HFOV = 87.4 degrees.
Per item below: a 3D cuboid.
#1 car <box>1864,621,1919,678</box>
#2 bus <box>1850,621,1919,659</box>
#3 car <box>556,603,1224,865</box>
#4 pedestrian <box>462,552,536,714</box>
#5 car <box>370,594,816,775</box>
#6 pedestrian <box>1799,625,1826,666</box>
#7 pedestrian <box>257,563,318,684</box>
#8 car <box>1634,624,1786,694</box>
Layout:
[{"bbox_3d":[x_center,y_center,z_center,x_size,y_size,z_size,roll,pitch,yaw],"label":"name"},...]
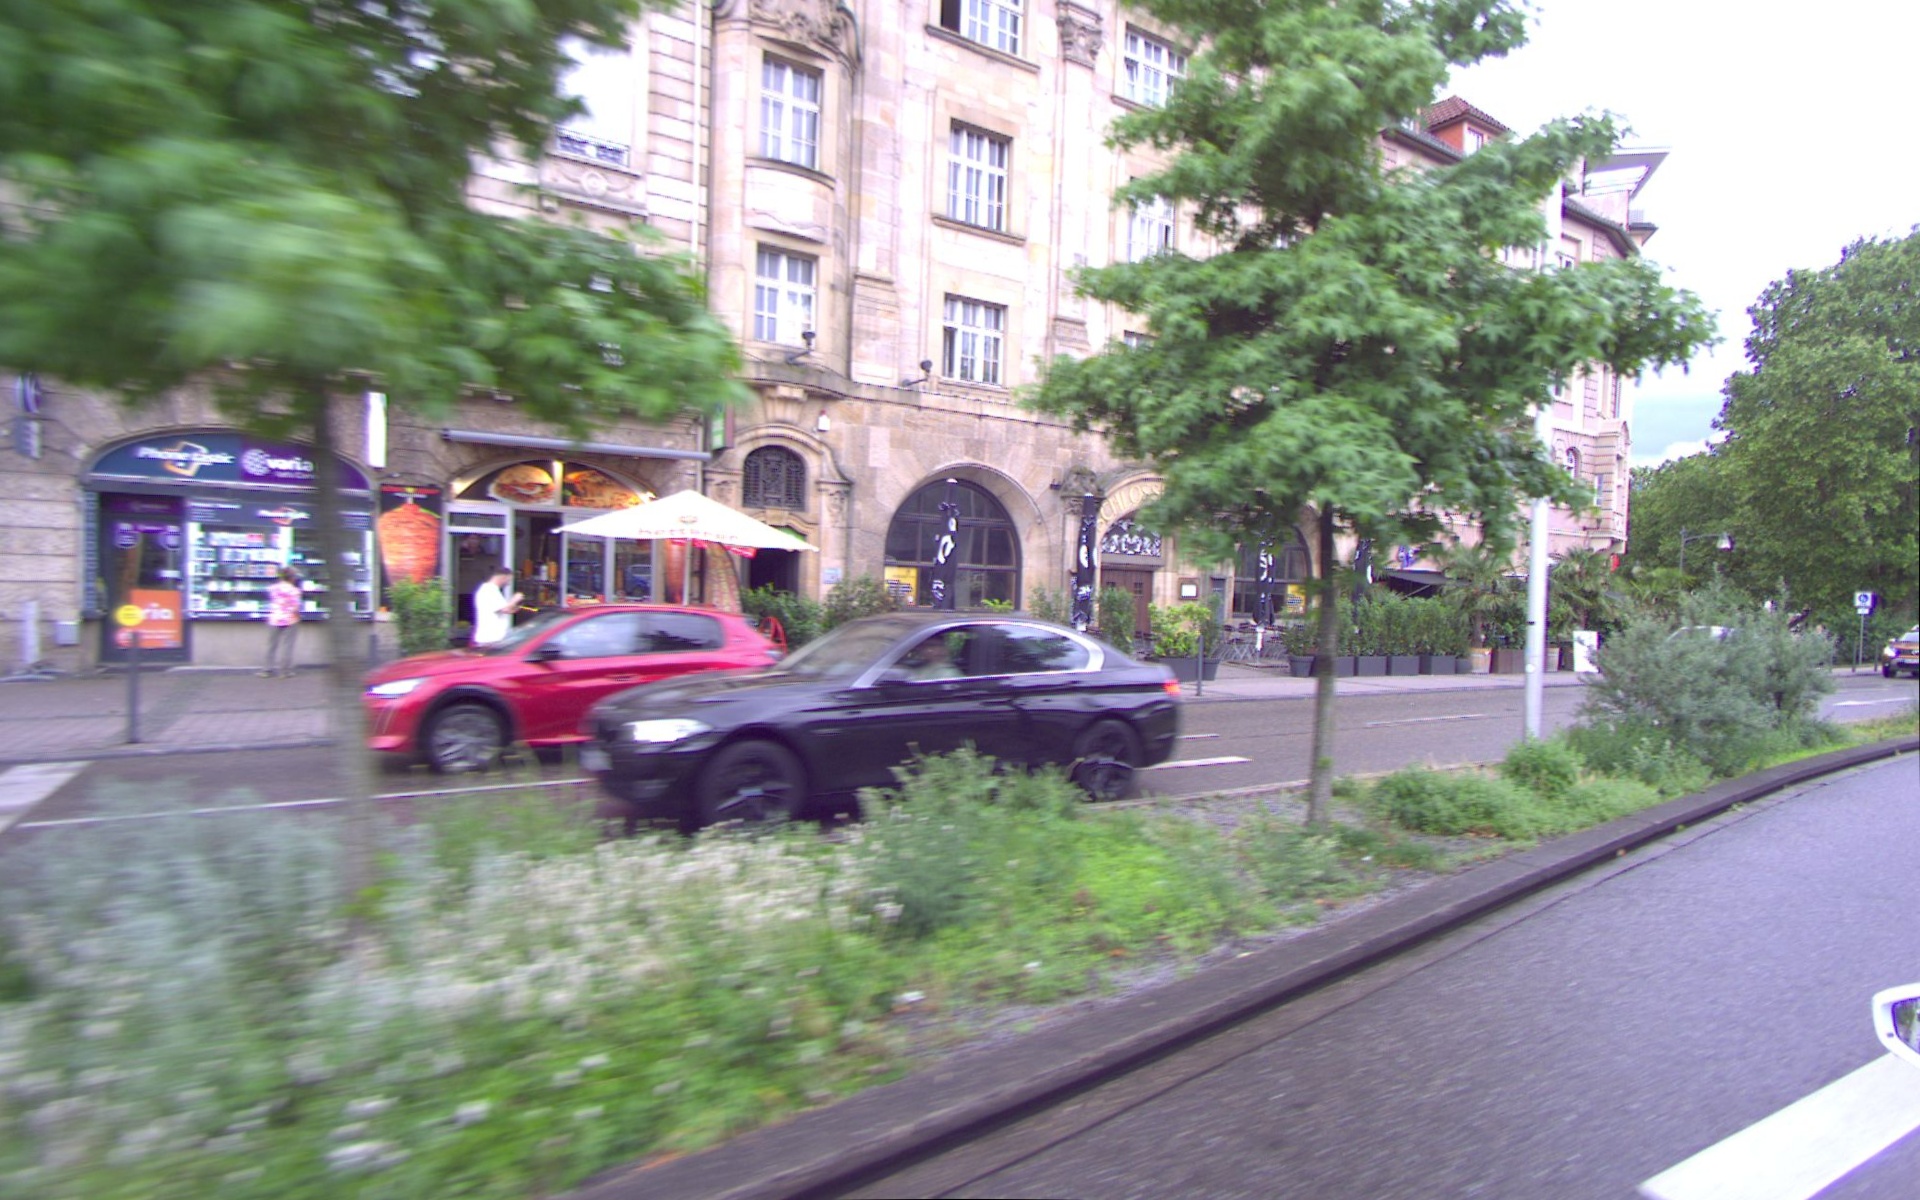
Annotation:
[{"bbox_3d":[30.774,1.552,31.772,4.051,1.703,1.985,1,0,-28],"label":"car"},{"bbox_3d":[79.995,3.312,82.117,2.836,3.058,11.963,2,-3,-7],"label":"bus"},{"bbox_3d":[-0.349,0.820,7.877,4.977,1.483,1.831,1,0,-33],"label":"car"},{"bbox_3d":[-5.726,0.400,12.465,0.756,1.935,0.674,1,0,-29],"label":"pedestrian"},{"bbox_3d":[-3.546,0.737,9.887,3.871,1.464,1.668,2,0,-31],"label":"car"},{"bbox_3d":[32.612,1.737,38.416,0.722,1.550,0.683,1,-1,-41],"label":"pedestrian"},{"bbox_3d":[-9.711,0.335,14.500,0.672,1.693,0.758,2,0,-36],"label":"pedestrian"},{"bbox_3d":[17.296,1.313,23.134,3.721,1.451,1.618,1,0,-33],"label":"car"}]
